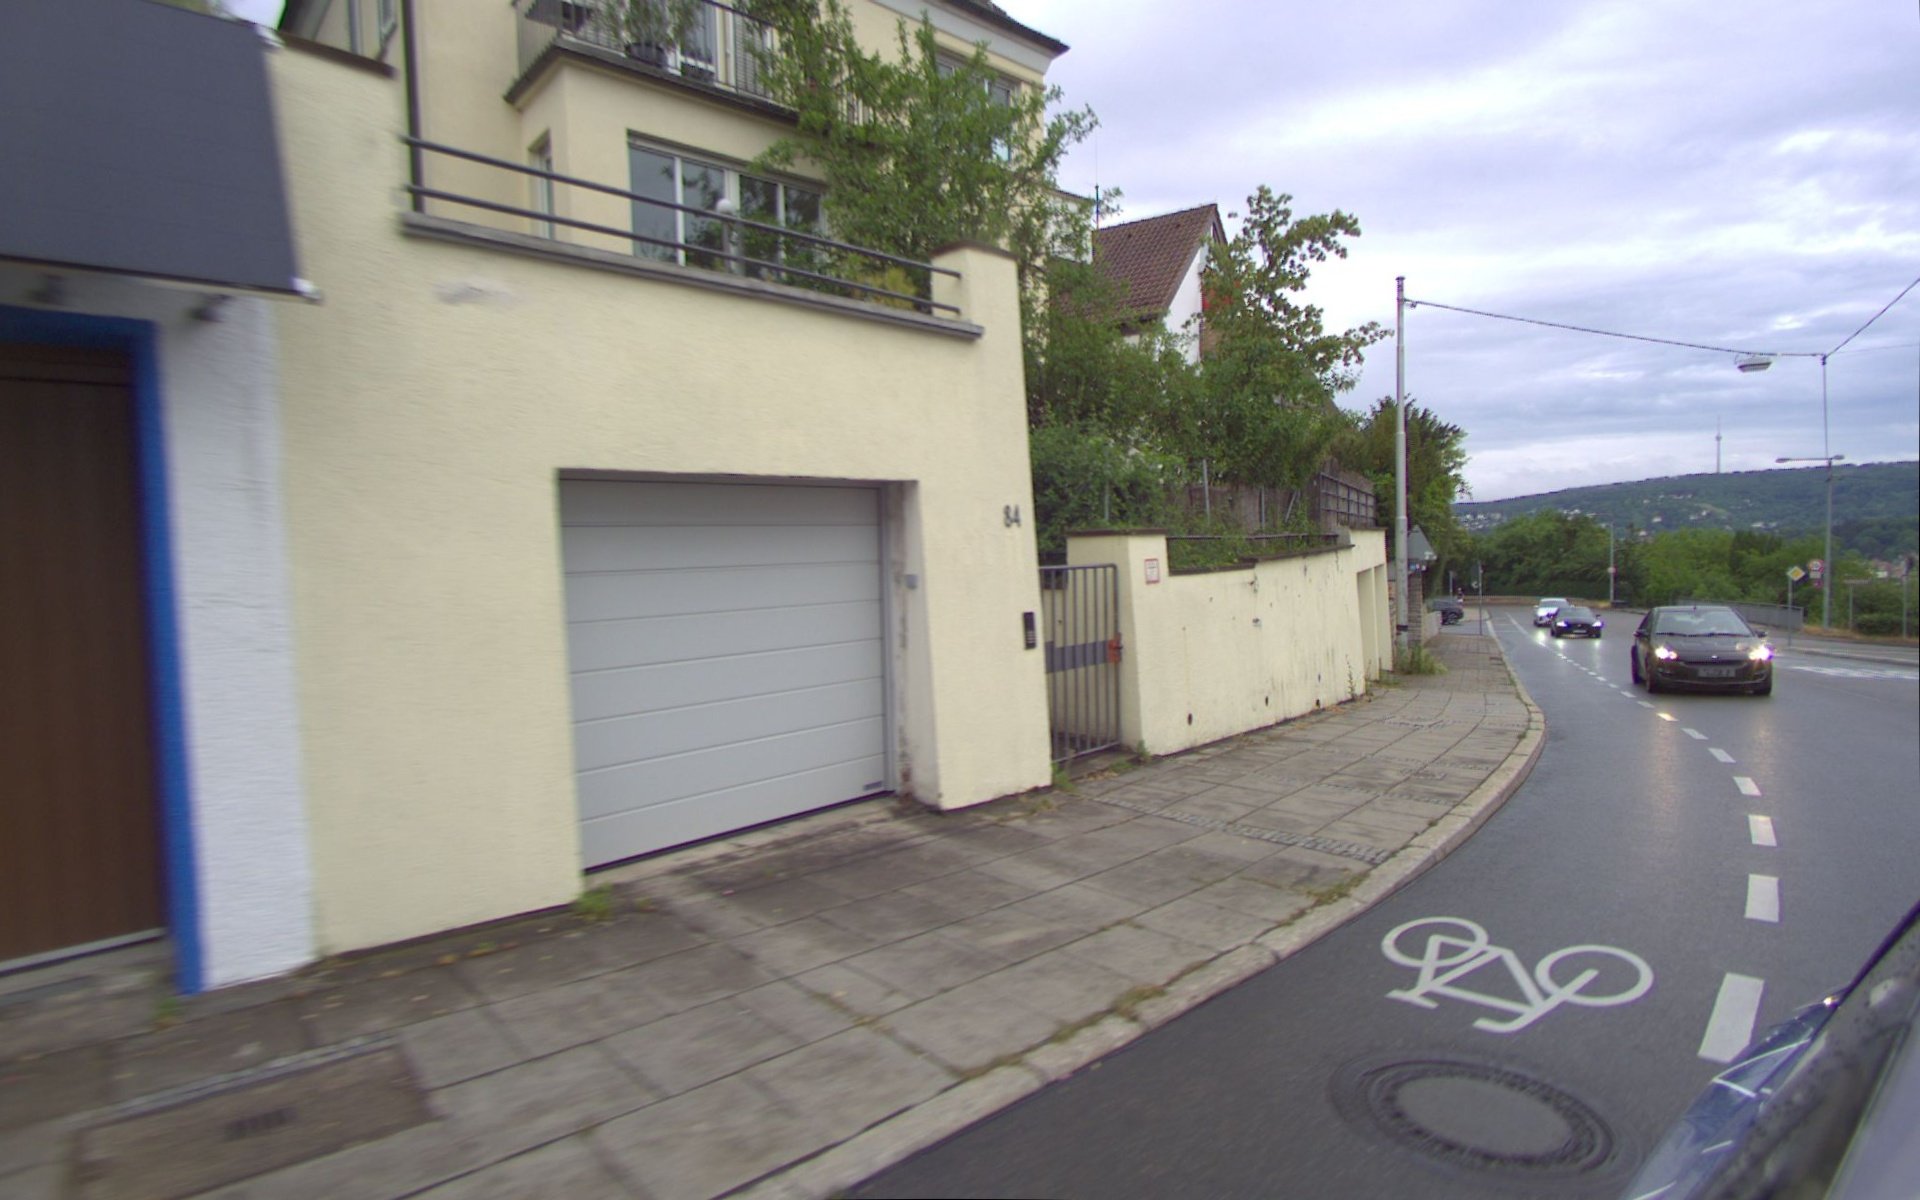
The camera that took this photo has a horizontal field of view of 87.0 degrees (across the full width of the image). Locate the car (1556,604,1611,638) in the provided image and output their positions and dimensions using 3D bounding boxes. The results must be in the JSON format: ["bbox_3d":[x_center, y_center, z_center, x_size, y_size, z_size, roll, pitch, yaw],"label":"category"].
[{"bbox_3d":[29.259,0.960,47.590,1.749,1.472,4.360,0,0,26],"label":"car"}]

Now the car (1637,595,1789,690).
[{"bbox_3d":[12.927,0.659,17.573,1.667,1.431,3.598,-1,0,30],"label":"car"}]

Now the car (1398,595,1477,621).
[{"bbox_3d":[30.807,0.501,65.337,4.125,1.542,1.998,-1,0,3],"label":"car"}]

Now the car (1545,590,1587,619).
[{"bbox_3d":[36.025,0.255,60.224,1.872,1.595,4.549,-1,1,28],"label":"car"}]
